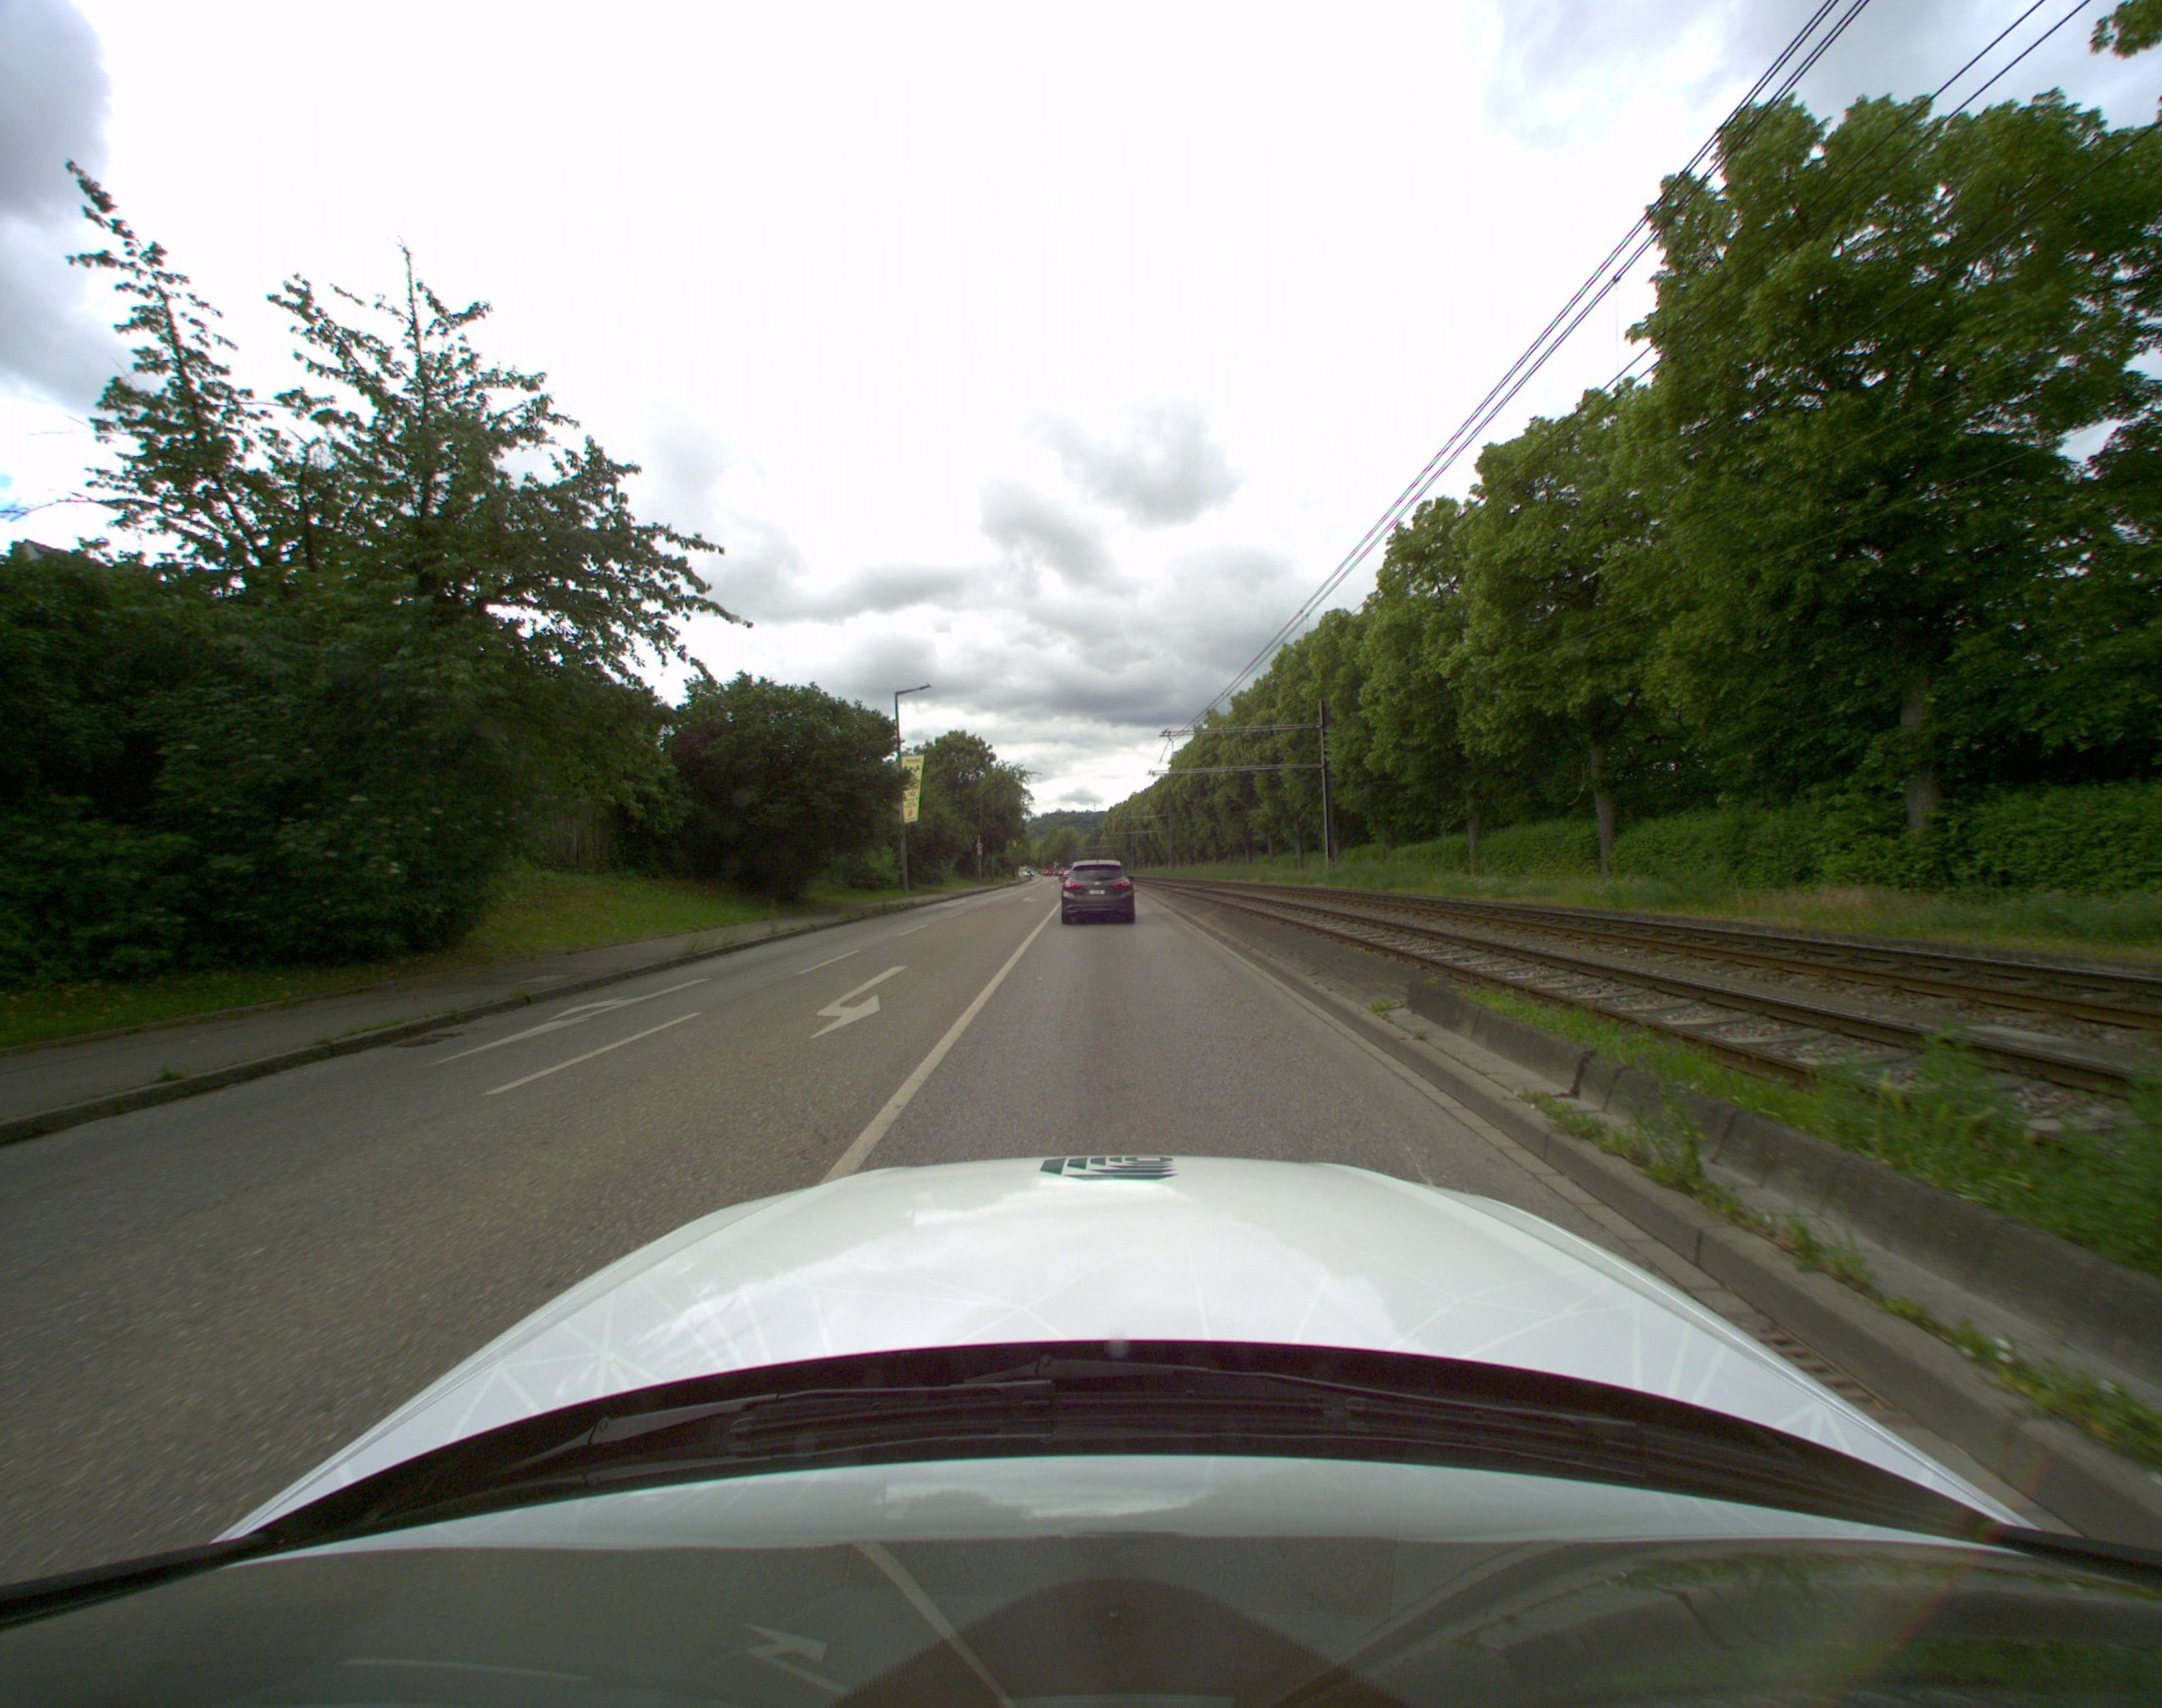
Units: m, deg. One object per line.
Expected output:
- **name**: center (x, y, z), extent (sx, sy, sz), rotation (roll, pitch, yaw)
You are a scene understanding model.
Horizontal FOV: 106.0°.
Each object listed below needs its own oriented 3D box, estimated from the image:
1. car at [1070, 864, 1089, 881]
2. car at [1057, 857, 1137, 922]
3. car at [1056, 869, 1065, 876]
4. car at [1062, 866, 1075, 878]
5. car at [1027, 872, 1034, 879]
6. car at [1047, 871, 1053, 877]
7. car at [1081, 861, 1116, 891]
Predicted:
- **car**: center (-0.109, 1.729, 75.839), extent (1.694, 1.444, 3.999), rotation (-1, -2, 0)
- **car**: center (0.416, 0.853, 20.776), extent (1.844, 1.493, 4.001), rotation (0, -1, 1)
- **car**: center (-4.386, 4.048, 177.018), extent (1.789, 1.510, 3.998), rotation (-1, -2, 0)
- **car**: center (-1.674, 2.466, 110.815), extent (1.694, 1.444, 3.998), rotation (-1, -2, 0)
- **car**: center (-15.485, 6.592, 248.054), extent (1.989, 2.036, 5.110), rotation (-3, -2, -3)
- **car**: center (-9.539, 6.180, 250.232), extent (1.694, 1.714, 3.998), rotation (-1, -2, 0)
- **car**: center (0.874, 1.157, 42.558), extent (1.694, 1.444, 3.999), rotation (-1, -2, 0)
